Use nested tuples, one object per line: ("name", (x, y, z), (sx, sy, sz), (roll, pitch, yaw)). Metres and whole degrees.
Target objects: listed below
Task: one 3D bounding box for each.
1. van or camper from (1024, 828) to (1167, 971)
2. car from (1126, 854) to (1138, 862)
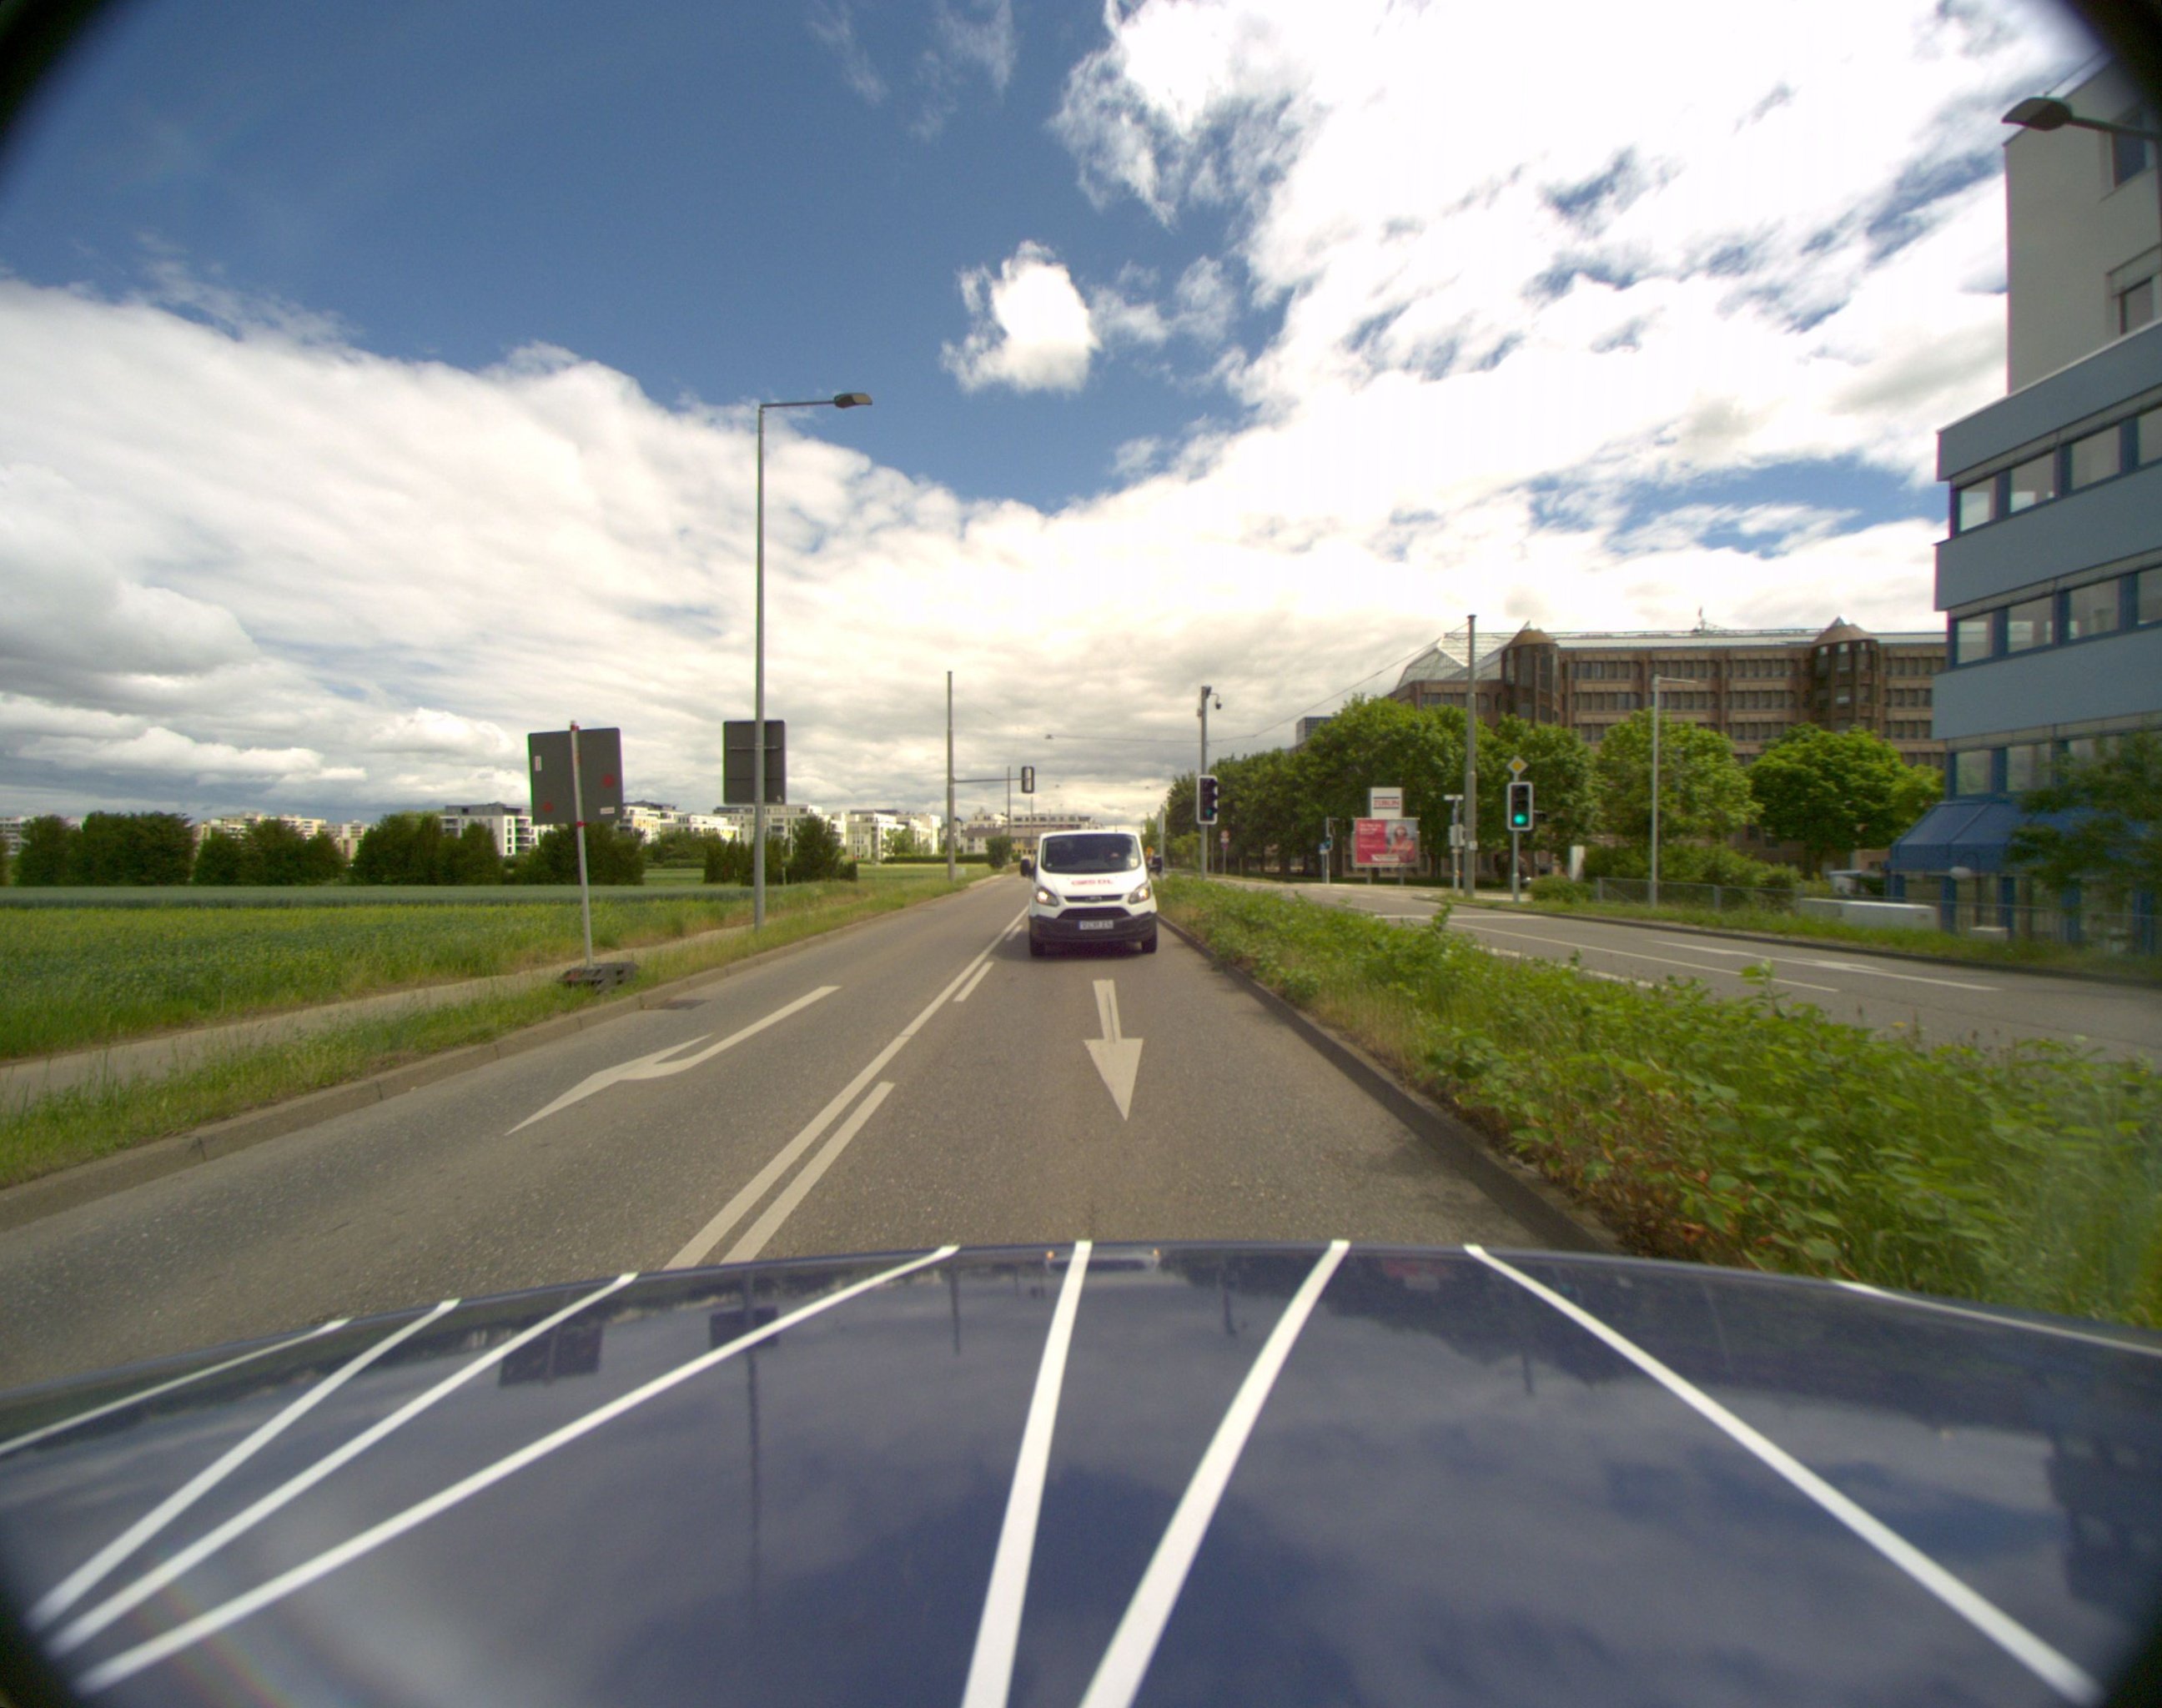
("van or camper", (0.138, 0.631, 13.572), (1.999, 2.002, 5.798), (0, 0, -1))
("car", (9.157, 0.704, 136.420), (1.785, 1.407, 3.999), (1, 0, -1))
